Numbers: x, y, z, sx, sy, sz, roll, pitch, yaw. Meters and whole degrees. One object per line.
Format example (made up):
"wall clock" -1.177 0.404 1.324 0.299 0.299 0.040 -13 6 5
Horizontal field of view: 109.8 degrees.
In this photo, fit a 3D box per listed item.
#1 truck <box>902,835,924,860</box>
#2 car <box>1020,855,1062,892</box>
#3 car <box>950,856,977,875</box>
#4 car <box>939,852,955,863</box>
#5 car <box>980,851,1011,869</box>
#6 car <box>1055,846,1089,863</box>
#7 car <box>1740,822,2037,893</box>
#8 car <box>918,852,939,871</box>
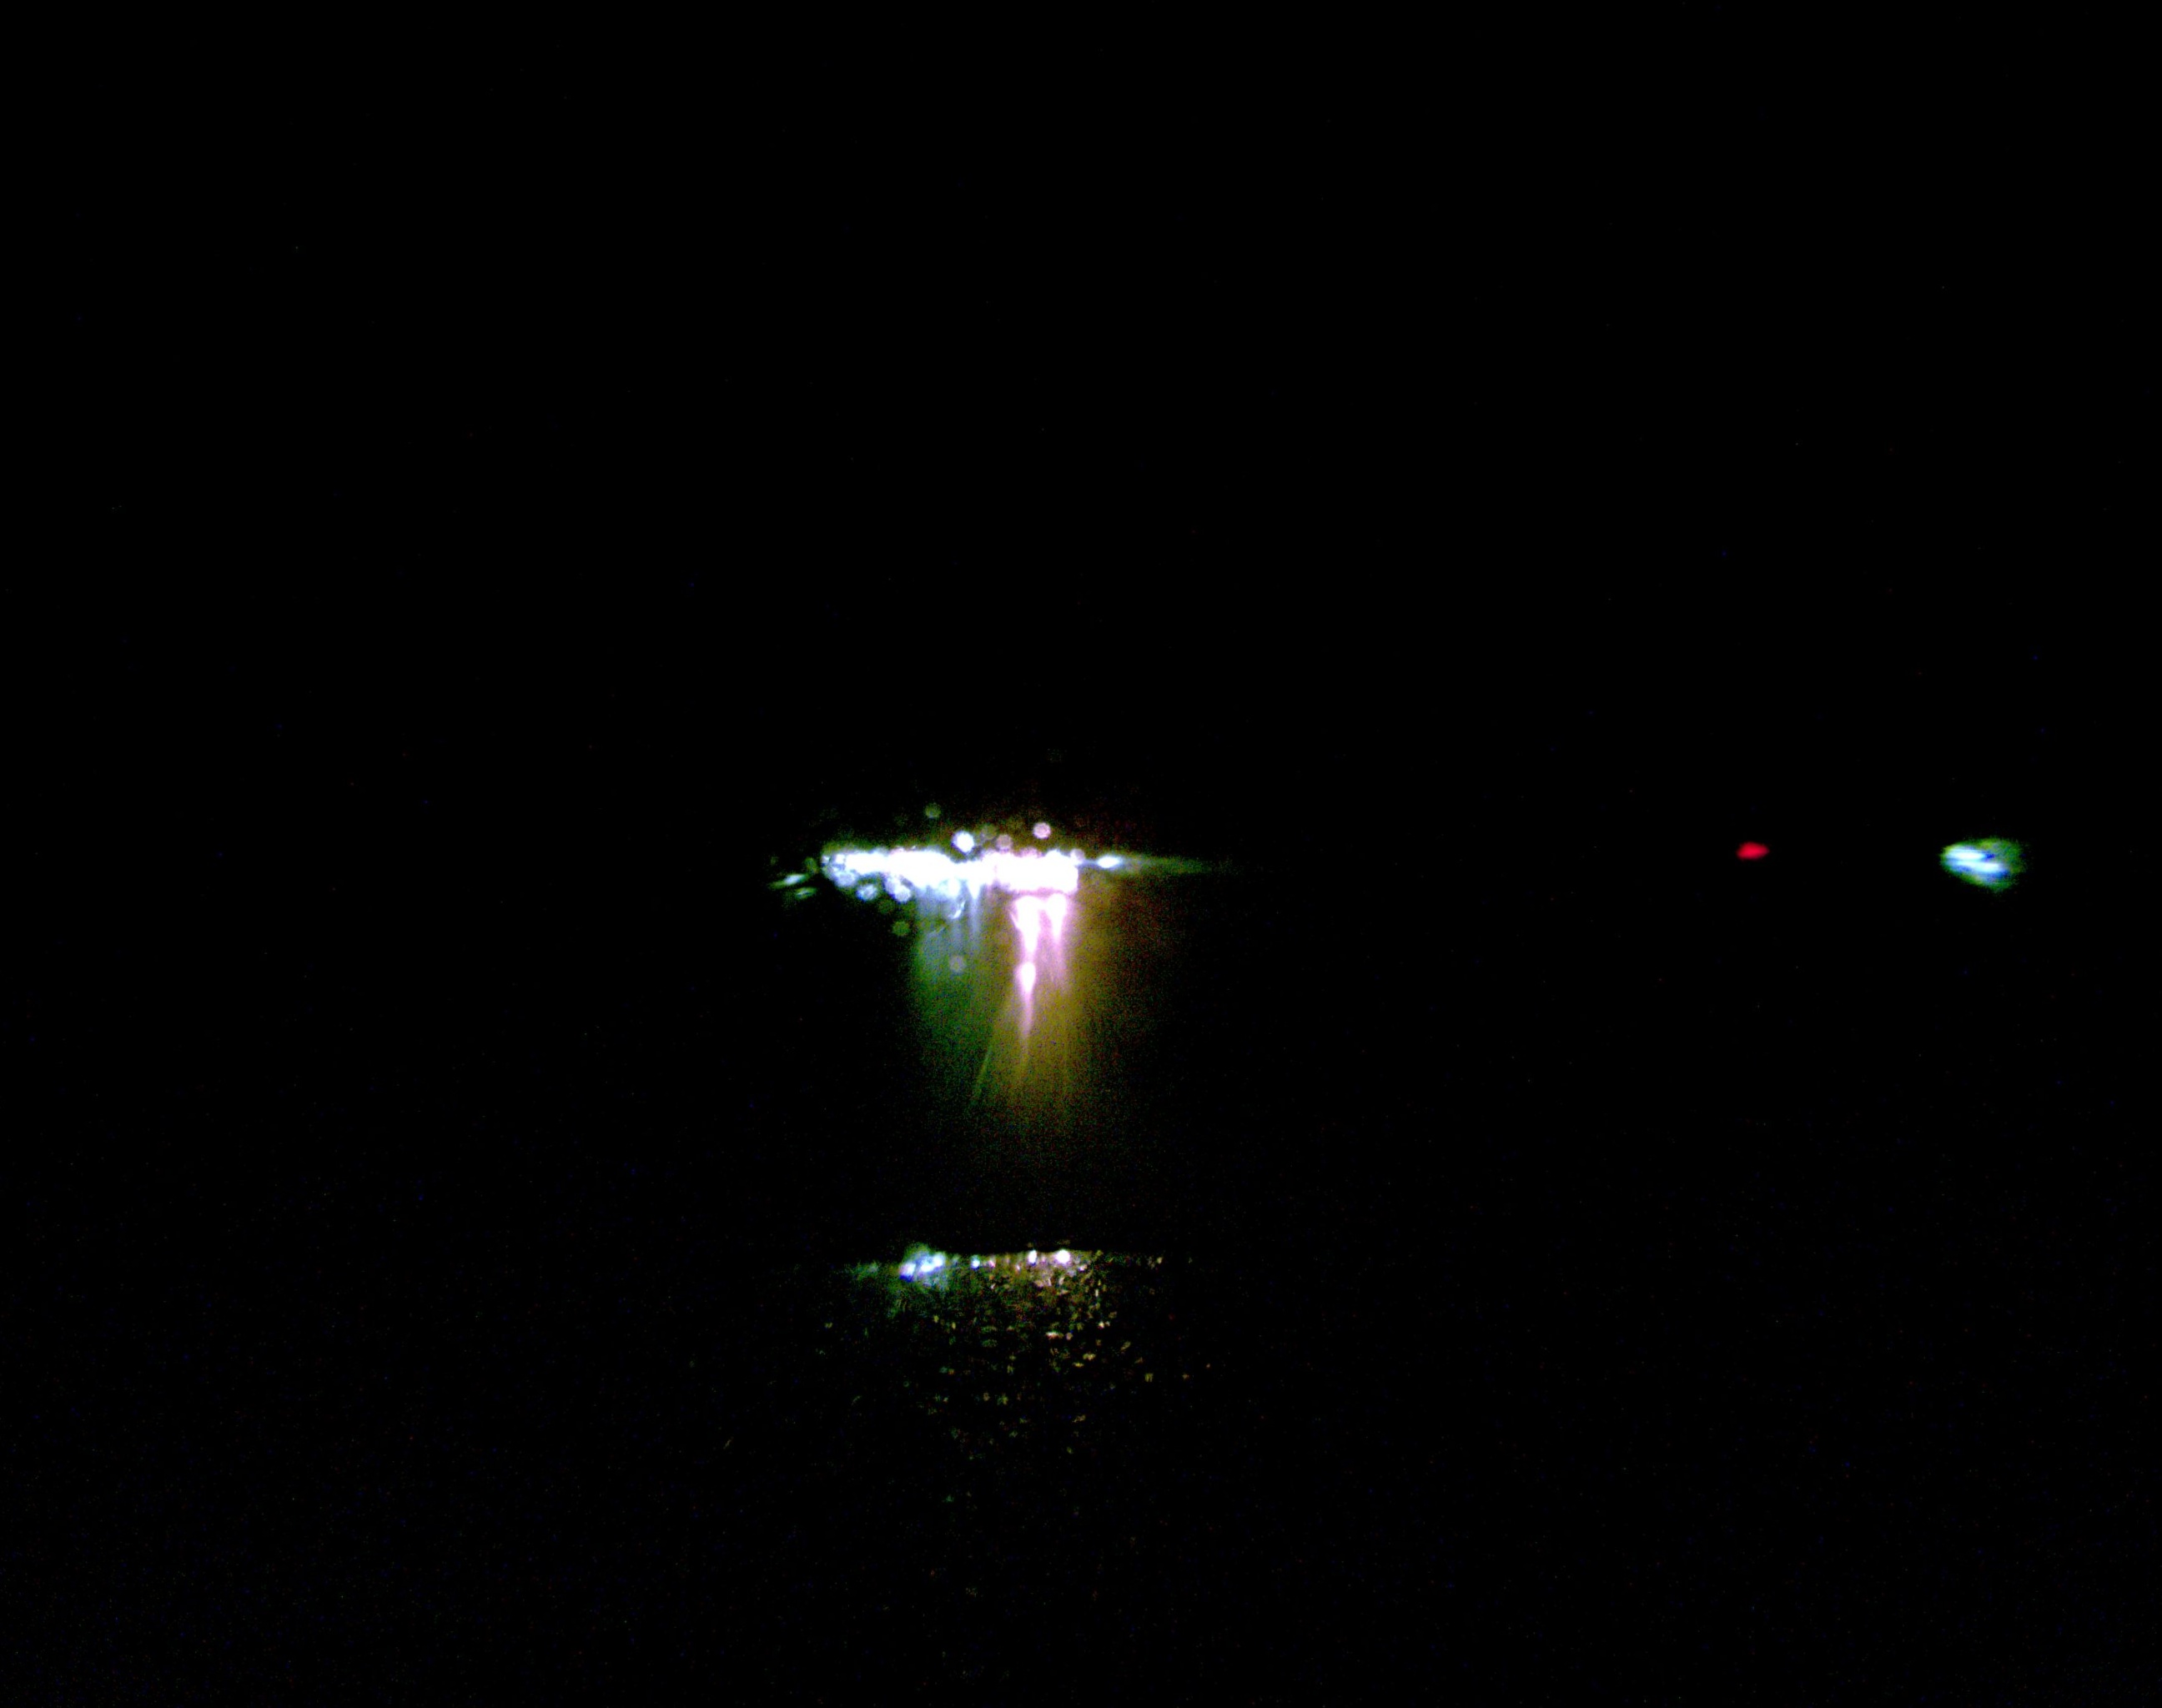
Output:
"truck" -30.164 -1.075 136.233 2.543 4.311 5.553 -3 1 -23
"car" -1.763 0.800 32.912 1.687 1.442 3.640 -2 1 -4
"car" -8.731 0.831 56.214 1.762 1.304 4.081 -3 0 -12
"car" -22.140 0.641 125.536 1.792 1.641 4.046 -3 -1 -22
"car" -7.924 0.553 70.332 1.733 1.473 4.034 -5 1 -21
"car" -0.911 0.014 74.479 1.892 1.532 4.103 -3 1 -22
"car" 20.176 0.046 19.338 1.768 1.473 4.856 -5 2 -20
"car" -15.013 0.696 74.748 1.742 1.674 4.115 -4 1 -13
